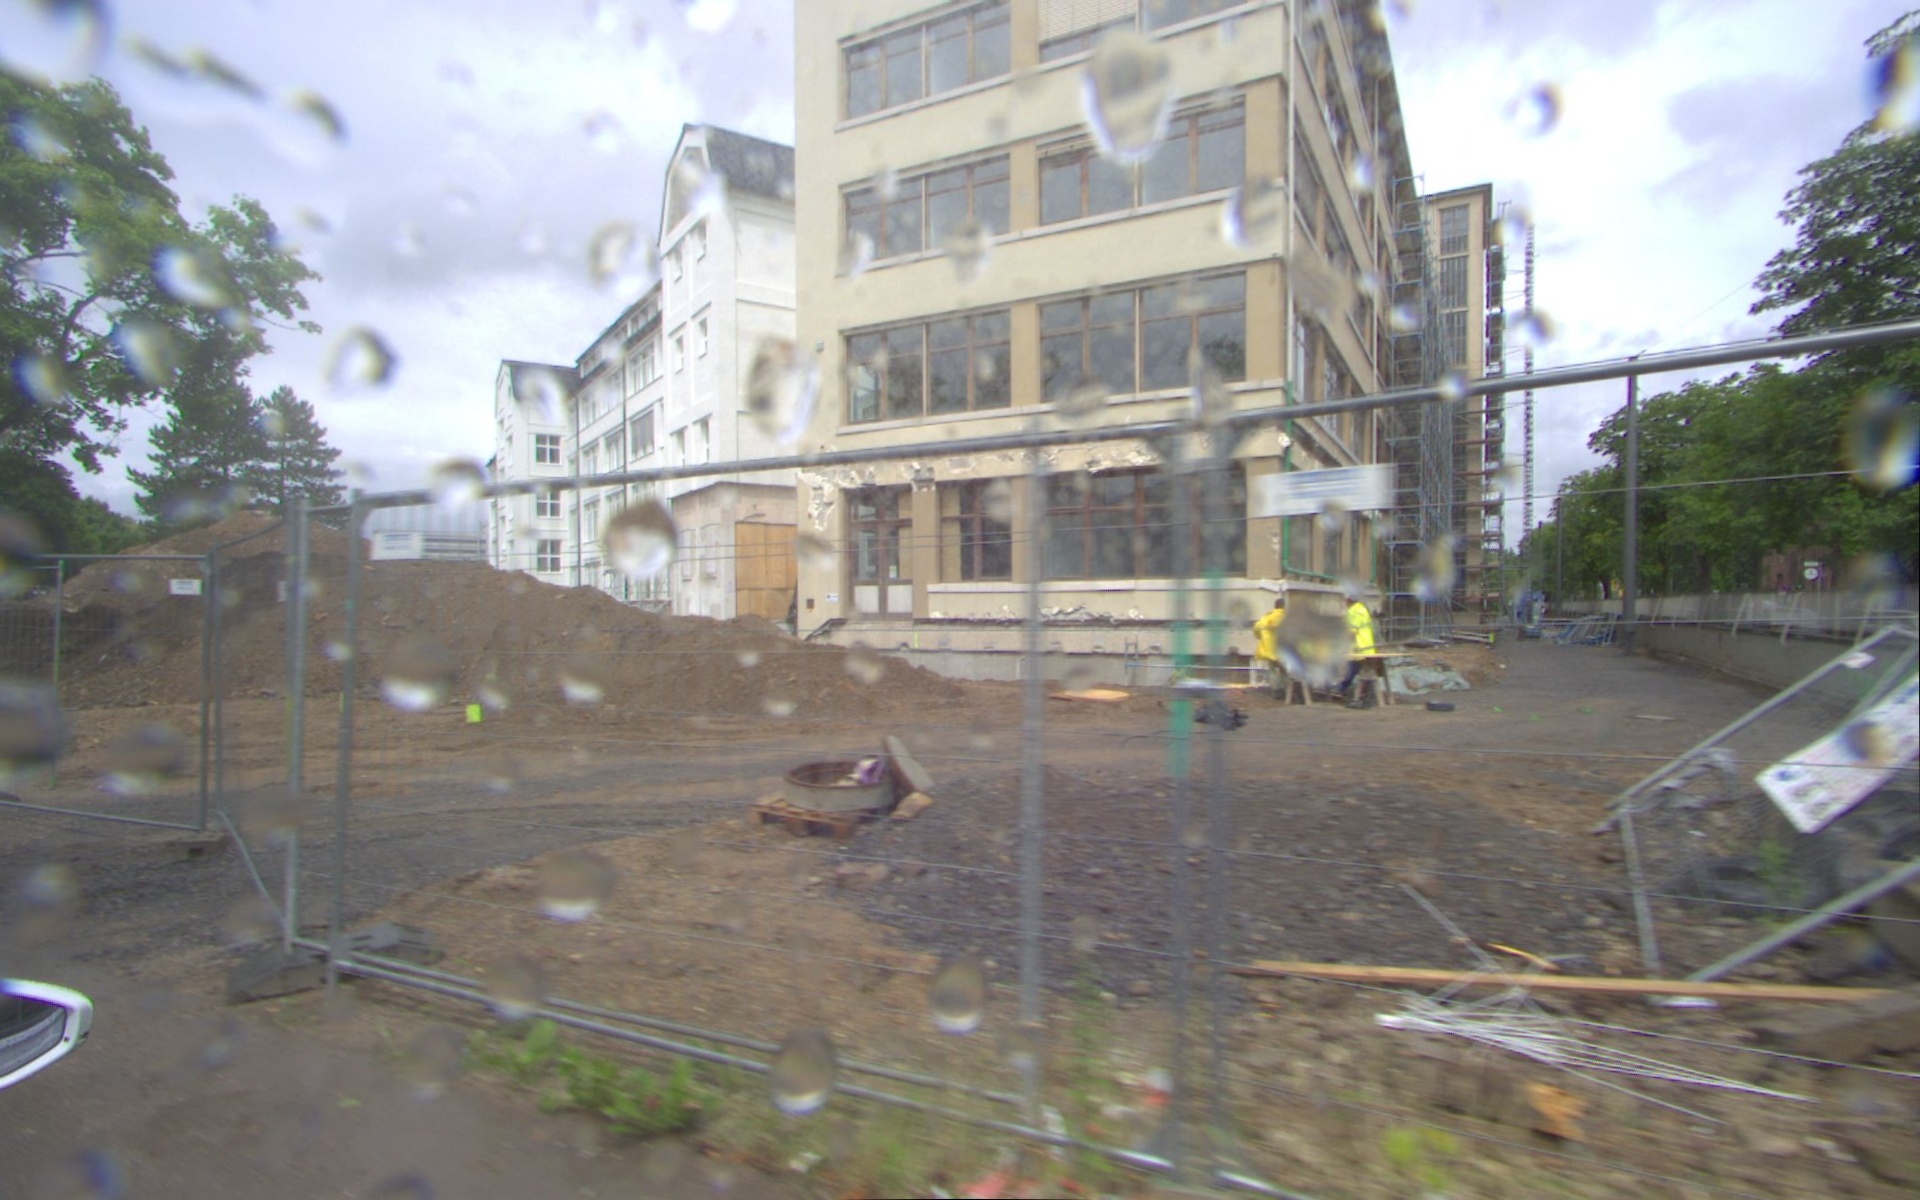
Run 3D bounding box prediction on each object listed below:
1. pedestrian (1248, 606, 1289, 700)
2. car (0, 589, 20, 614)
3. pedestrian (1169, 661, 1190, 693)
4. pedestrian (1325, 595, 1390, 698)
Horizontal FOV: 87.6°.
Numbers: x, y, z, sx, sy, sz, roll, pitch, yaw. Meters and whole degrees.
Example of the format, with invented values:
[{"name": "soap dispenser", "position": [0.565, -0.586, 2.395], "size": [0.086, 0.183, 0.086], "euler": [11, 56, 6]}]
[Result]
[{"name": "pedestrian", "position": [5.184, 0.876, 16.855], "size": [0.637, 1.528, 0.624], "euler": [1, 0, 16]}, {"name": "car", "position": [-58.459, 0.062, 59.106], "size": [3.995, 1.427, 1.970], "euler": [1, -2, -34]}, {"name": "pedestrian", "position": [4.798, 1.672, 21.880], "size": [0.386, 0.670, 0.345], "euler": [1, 0, 26]}, {"name": "pedestrian", "position": [6.738, 0.764, 16.978], "size": [0.767, 1.695, 0.708], "euler": [0, 0, -35]}]
